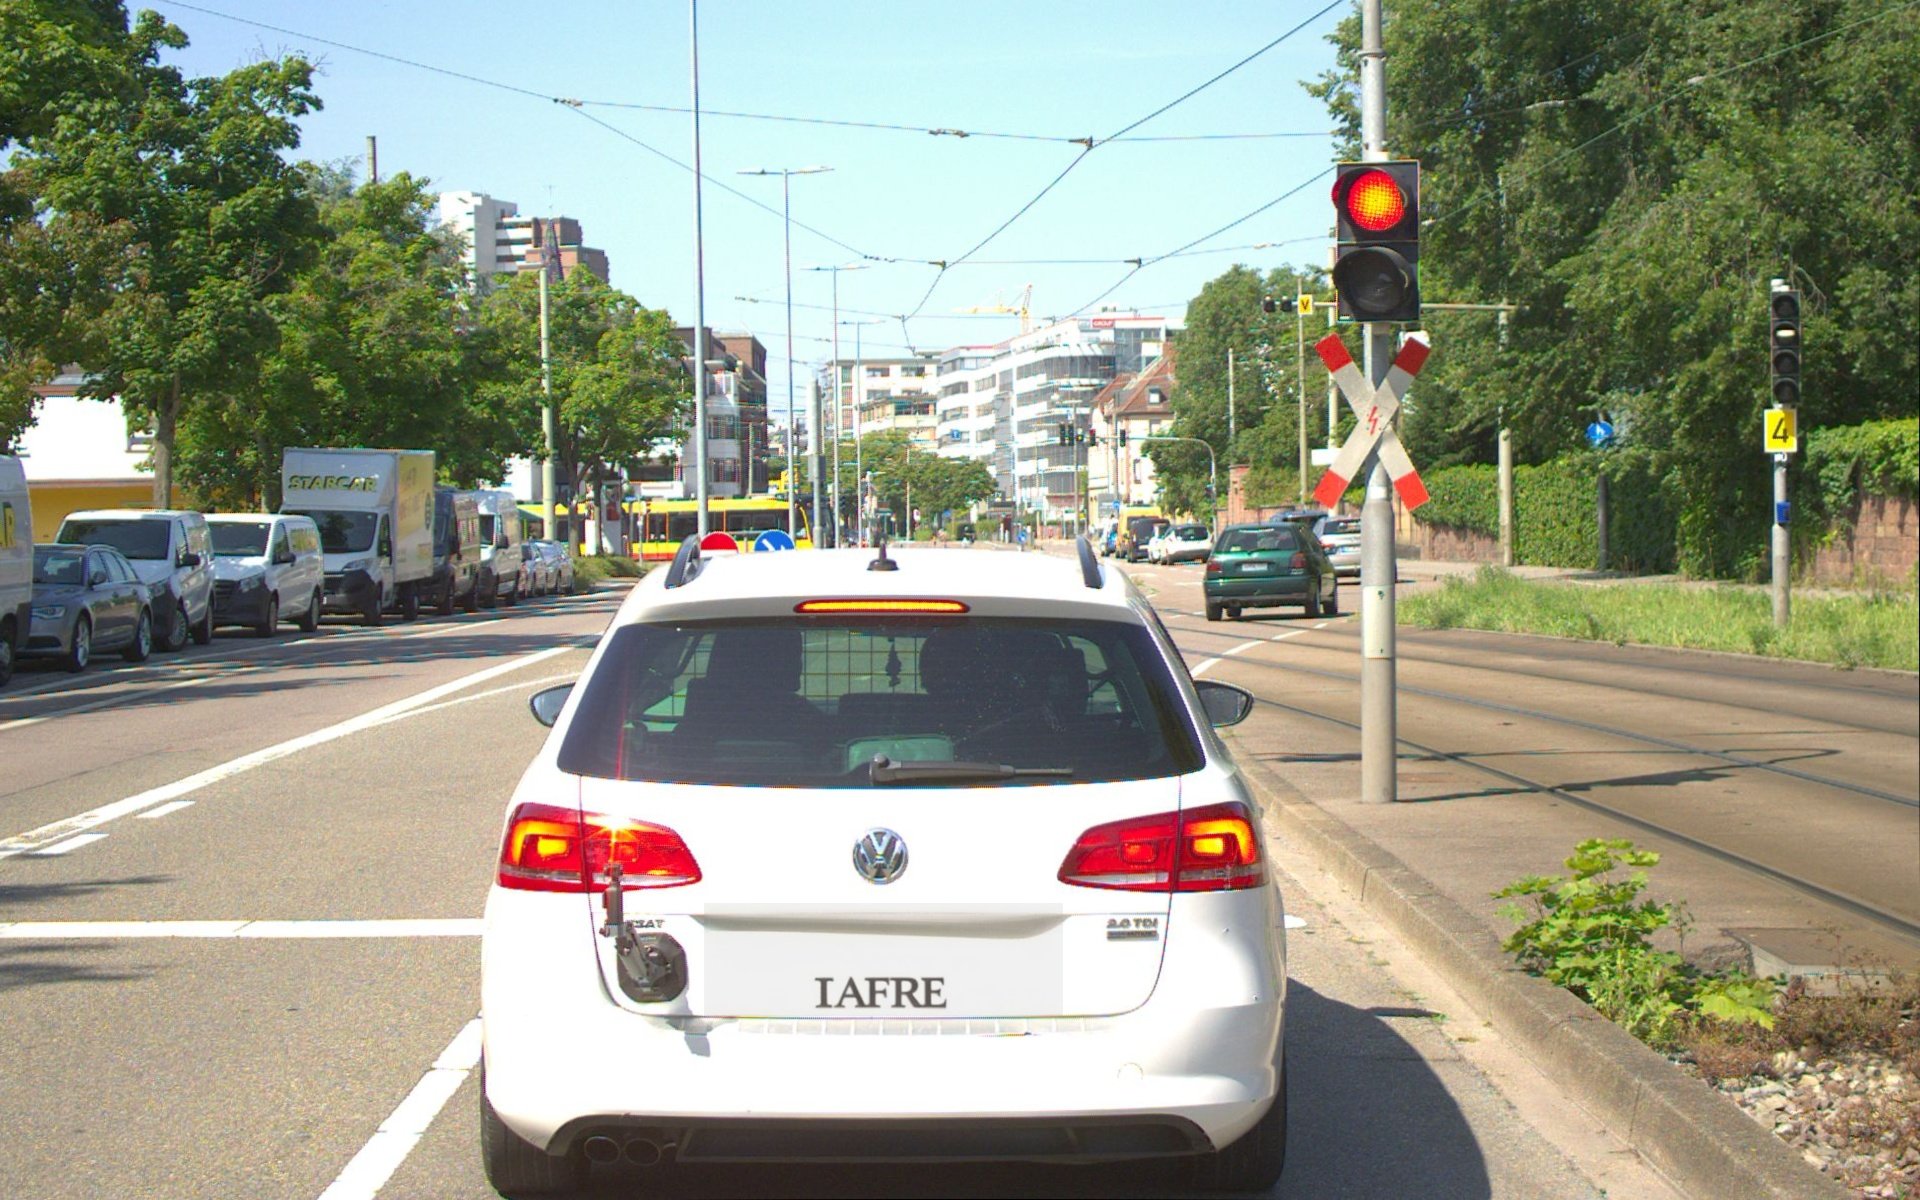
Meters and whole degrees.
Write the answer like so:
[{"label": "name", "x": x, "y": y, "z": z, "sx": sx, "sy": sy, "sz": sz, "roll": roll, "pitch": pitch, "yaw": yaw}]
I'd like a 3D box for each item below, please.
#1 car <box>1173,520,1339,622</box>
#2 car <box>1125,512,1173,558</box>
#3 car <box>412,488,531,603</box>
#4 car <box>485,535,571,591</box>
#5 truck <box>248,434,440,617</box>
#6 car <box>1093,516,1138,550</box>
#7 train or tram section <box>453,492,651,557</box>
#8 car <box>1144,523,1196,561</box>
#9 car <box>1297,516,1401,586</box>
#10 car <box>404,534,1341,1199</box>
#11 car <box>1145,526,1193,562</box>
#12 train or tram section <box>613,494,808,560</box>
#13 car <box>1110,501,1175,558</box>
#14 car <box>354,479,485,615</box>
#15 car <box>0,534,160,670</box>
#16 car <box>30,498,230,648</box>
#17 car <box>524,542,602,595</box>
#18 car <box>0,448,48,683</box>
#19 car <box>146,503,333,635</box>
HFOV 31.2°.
[{"label": "car", "x": 4.323, "y": -0.445, "z": 49.733, "sx": 1.747, "sy": 1.383, "sz": 3.910, "roll": 1, "pitch": 1, "yaw": 14}, {"label": "car", "x": 7.779, "y": -2.674, "z": 141.781, "sx": 1.691, "sy": 1.806, "sz": 3.454, "roll": 1, "pitch": 1, "yaw": -1}, {"label": "car", "x": -11.118, "y": -1.276, "z": 78.612, "sx": 1.843, "sy": 2.486, "sz": 5.857, "roll": -1, "pitch": 1, "yaw": 0}, {"label": "car", "x": -11.740, "y": -1.020, "z": 93.649, "sx": 1.843, "sy": 1.428, "sz": 4.038, "roll": -1, "pitch": 1, "yaw": -1}, {"label": "truck", "x": -11.174, "y": -1.366, "z": 62.906, "sx": 2.356, "sy": 3.112, "sz": 6.892, "roll": -1, "pitch": 1, "yaw": -1}, {"label": "car", "x": 7.568, "y": -3.264, "z": 167.600, "sx": 1.993, "sy": 1.590, "sz": 4.000, "roll": 1, "pitch": 1, "yaw": 0}, {"label": "train or tram section", "x": -21.657, "y": -4.007, "z": 182.095, "sx": 10.787, "sy": 3.241, "sz": 2.305, "roll": 1, "pitch": 1, "yaw": 25}, {"label": "car", "x": 7.591, "y": -2.097, "z": 124.473, "sx": 1.581, "sy": 1.341, "sz": 3.454, "roll": 1, "pitch": 1, "yaw": -1}, {"label": "car", "x": 8.228, "y": -1.056, "z": 73.042, "sx": 1.861, "sy": 1.412, "sz": 4.325, "roll": 1, "pitch": 1, "yaw": 2}, {"label": "car", "x": -0.214, "y": 0.583, "z": 8.527, "sx": 1.768, "sy": 1.441, "sz": 3.913, "roll": 1, "pitch": 1, "yaw": -1}, {"label": "car", "x": 8.132, "y": -2.185, "z": 133.791, "sx": 1.581, "sy": 1.341, "sz": 3.454, "roll": 1, "pitch": 1, "yaw": -1}, {"label": "train or tram section", "x": -12.907, "y": -3.779, "z": 176.705, "sx": 11.262, "sy": 3.241, "sz": 2.304, "roll": 2, "pitch": 1, "yaw": 37}, {"label": "car", "x": 8.198, "y": -3.157, "z": 155.116, "sx": 2.463, "sy": 2.490, "sz": 5.910, "roll": 1, "pitch": 1, "yaw": -1}, {"label": "car", "x": -11.037, "y": -1.104, "z": 70.535, "sx": 1.843, "sy": 2.659, "sz": 5.003, "roll": -1, "pitch": 1, "yaw": 0}, {"label": "car", "x": -10.992, "y": -0.007, "z": 41.171, "sx": 1.843, "sy": 1.511, "sz": 4.197, "roll": -1, "pitch": 1, "yaw": -1}, {"label": "car", "x": -11.476, "y": -0.416, "z": 47.834, "sx": 1.843, "sy": 1.930, "sz": 5.195, "roll": -1, "pitch": 1, "yaw": -4}, {"label": "car", "x": -11.421, "y": -0.934, "z": 99.025, "sx": 1.780, "sy": 1.428, "sz": 4.038, "roll": -1, "pitch": 1, "yaw": -1}, {"label": "car", "x": -11.219, "y": -0.350, "z": 34.760, "sx": 2.059, "sy": 2.492, "sz": 6.307, "roll": 2, "pitch": 2, "yaw": 2}, {"label": "car", "x": -11.339, "y": -0.533, "z": 54.454, "sx": 1.843, "sy": 1.954, "sz": 5.134, "roll": -1, "pitch": 1, "yaw": 0}]
